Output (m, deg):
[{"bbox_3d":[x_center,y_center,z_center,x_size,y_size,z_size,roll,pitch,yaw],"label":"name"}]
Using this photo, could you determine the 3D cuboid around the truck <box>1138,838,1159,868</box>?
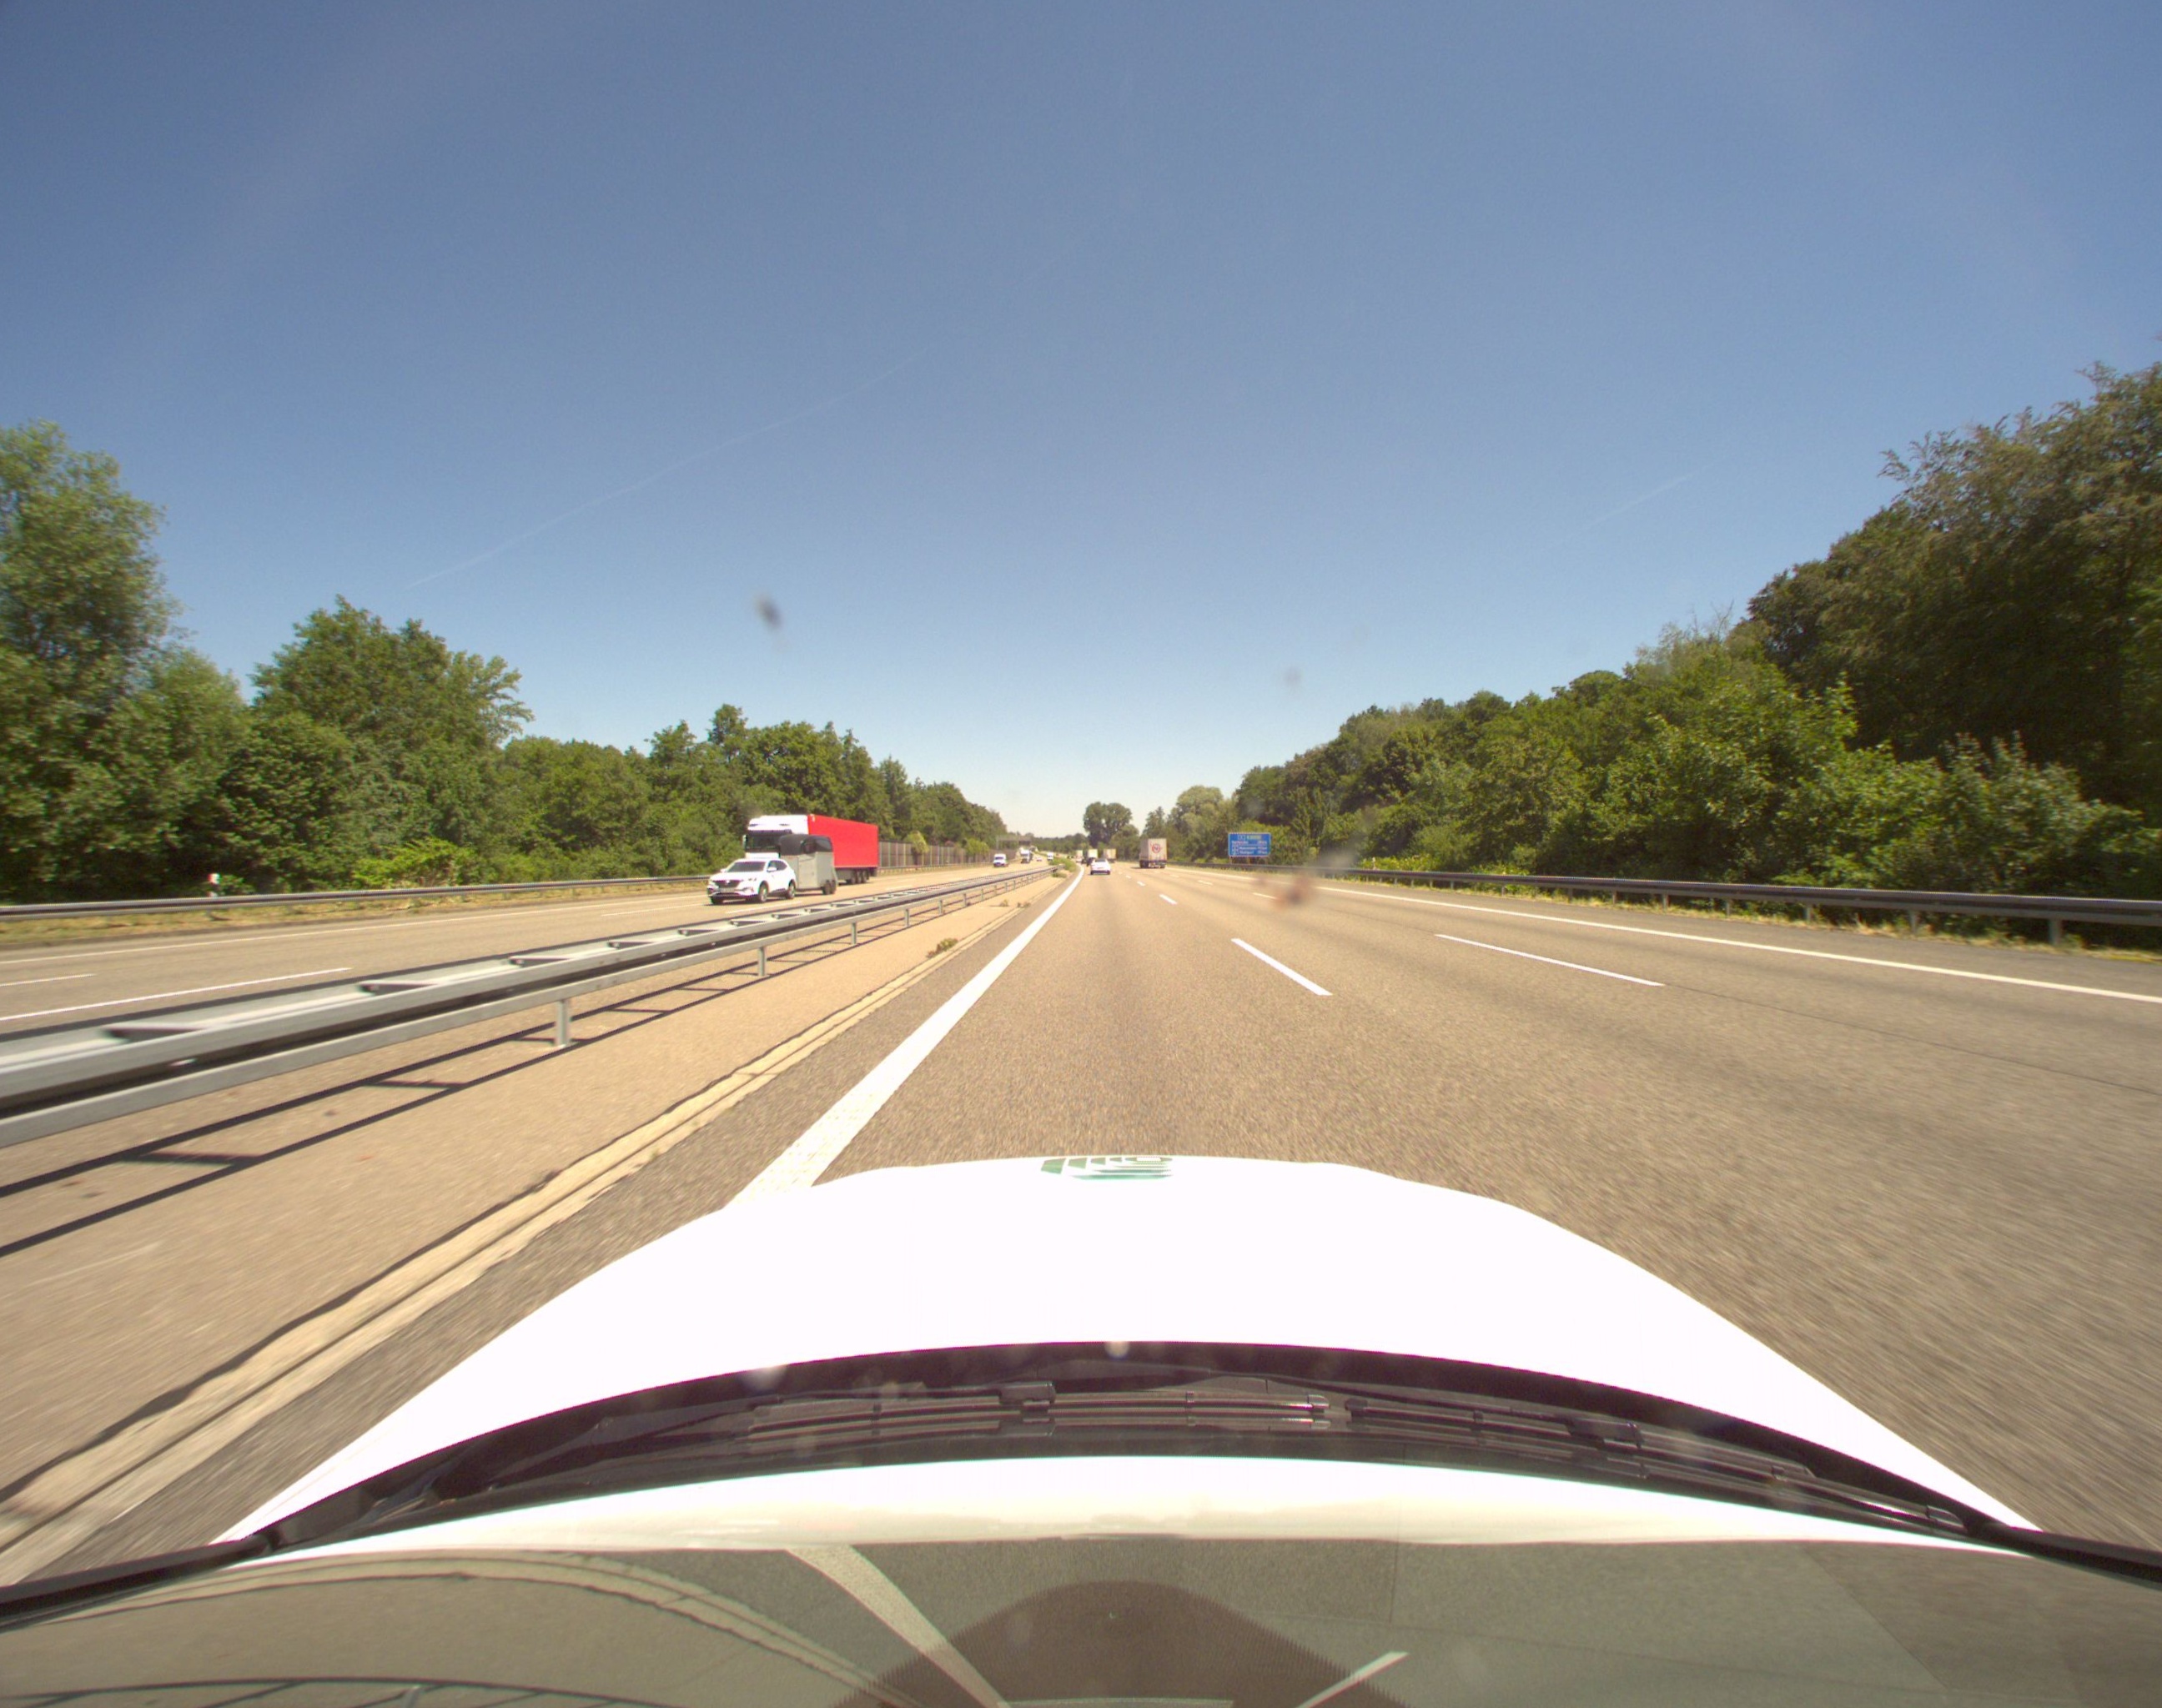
[{"bbox_3d":[9.956,-0.109,120.529,2.598,4.287,5.434,-1,0,0],"label":"truck"}]

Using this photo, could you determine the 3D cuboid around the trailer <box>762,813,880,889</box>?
[{"bbox_3d":[-15.716,-0.138,50.822,2.674,4.068,14.052,-1,0,1],"label":"trailer"}]

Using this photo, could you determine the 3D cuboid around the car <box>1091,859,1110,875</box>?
[{"bbox_3d":[1.788,1.164,75.035,1.709,1.369,3.376,-1,0,2],"label":"car"}]

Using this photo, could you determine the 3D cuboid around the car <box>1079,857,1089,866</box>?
[{"bbox_3d":[0.770,1.876,201.071,1.990,2.013,3.994,-1,0,-4],"label":"car"}]

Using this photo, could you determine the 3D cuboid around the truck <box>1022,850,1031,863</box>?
[{"bbox_3d":[-16.811,0.691,251.381,2.679,3.895,5.570,-1,0,-1],"label":"truck"}]

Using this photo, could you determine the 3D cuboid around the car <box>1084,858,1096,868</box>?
[{"bbox_3d":[1.630,1.642,149.753,1.989,1.772,3.995,-1,0,-4],"label":"car"}]

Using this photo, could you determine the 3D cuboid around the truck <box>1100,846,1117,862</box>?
[{"bbox_3d":[7.755,-0.011,231.462,3.485,4.311,10.973,-1,0,-4],"label":"truck"}]

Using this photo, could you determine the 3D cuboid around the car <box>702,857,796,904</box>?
[{"bbox_3d":[-12.262,0.931,30.375,1.830,1.632,4.019,-1,0,0],"label":"car"}]

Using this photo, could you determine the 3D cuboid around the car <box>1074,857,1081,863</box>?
[{"bbox_3d":[-1.022,1.731,253.025,1.721,1.783,3.993,-1,0,-5],"label":"car"}]

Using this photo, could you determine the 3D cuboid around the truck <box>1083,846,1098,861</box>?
[{"bbox_3d":[2.865,-0.080,245.752,3.355,4.311,10.807,-1,0,-6],"label":"truck"}]

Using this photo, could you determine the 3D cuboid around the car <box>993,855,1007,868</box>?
[{"bbox_3d":[-15.022,1.375,152.019,2.017,2.431,5.412,-1,0,0],"label":"car"}]

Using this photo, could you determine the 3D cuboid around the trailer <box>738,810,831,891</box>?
[{"bbox_3d":[-15.823,-0.153,43.877,2.679,4.042,6.037,-1,0,1],"label":"trailer"}]

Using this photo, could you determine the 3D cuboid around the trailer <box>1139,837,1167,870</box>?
[{"bbox_3d":[9.933,-0.059,113.416,2.615,4.261,14.059,-1,0,0],"label":"trailer"}]

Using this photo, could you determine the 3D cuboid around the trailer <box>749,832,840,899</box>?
[{"bbox_3d":[-12.112,0.468,34.848,2.079,2.613,4.955,-1,0,0],"label":"trailer"}]
